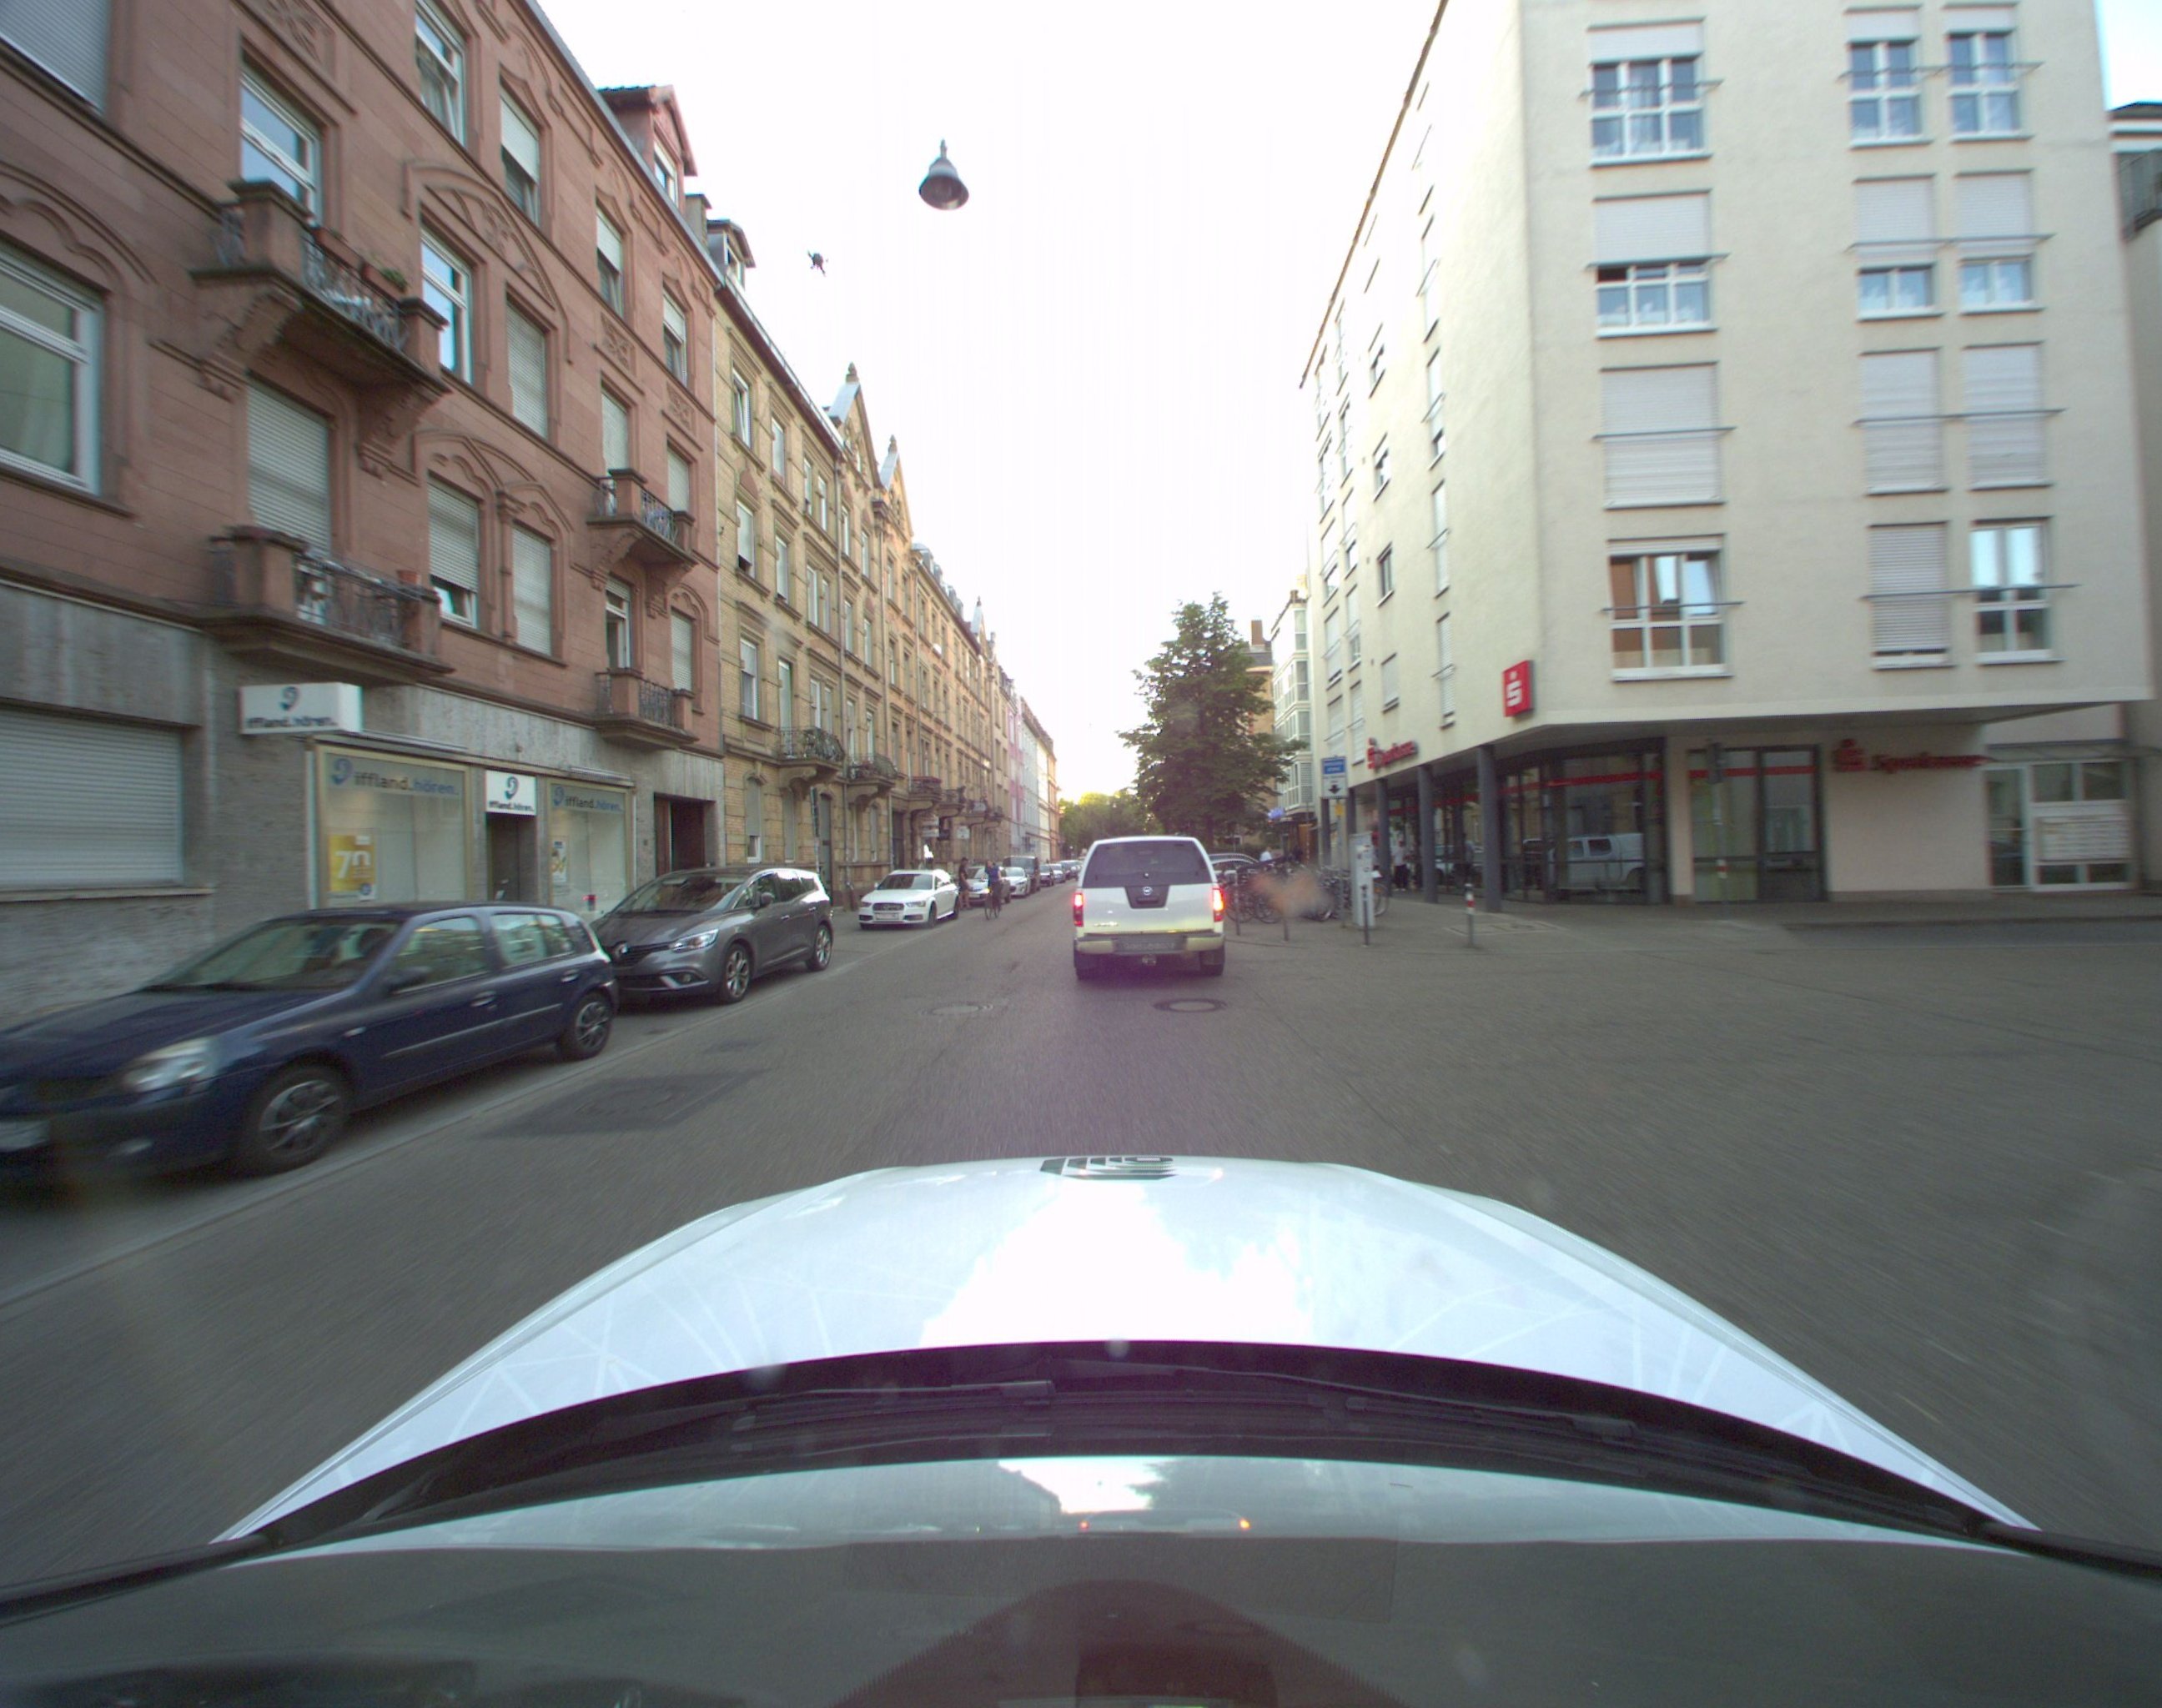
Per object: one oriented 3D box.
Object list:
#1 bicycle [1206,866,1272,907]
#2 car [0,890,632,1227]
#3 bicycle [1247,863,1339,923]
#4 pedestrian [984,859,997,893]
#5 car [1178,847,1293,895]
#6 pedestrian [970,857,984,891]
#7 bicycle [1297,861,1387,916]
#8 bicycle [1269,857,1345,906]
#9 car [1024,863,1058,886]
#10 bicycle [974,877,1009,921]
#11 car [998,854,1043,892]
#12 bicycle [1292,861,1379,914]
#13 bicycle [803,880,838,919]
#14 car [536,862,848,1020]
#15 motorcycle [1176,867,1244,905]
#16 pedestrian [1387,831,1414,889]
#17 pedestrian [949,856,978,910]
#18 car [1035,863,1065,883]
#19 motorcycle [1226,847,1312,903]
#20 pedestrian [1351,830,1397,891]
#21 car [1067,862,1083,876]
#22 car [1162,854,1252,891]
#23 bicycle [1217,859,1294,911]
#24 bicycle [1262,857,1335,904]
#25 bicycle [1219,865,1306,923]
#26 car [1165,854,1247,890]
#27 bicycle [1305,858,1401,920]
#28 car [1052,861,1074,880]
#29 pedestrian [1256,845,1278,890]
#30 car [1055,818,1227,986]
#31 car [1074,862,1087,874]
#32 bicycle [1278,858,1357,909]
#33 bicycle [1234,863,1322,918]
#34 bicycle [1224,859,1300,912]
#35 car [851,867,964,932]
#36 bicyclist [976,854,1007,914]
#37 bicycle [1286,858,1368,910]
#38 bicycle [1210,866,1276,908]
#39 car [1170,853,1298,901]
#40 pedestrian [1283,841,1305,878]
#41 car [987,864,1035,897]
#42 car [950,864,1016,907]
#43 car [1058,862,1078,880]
[{"bbox_3d":[4.595,0.941,23.778,1.764,1.022,0.566,-6,-2,5],"label":"bicycle"},{"bbox_3d":[-5.072,1.060,5.714,1.578,1.420,3.700,-1,0,4],"label":"car"},{"bbox_3d":[4.438,0.817,17.114,1.714,1.118,0.708,-4,-1,6],"label":"bicycle"},{"bbox_3d":[-4.800,1.174,43.195,0.603,1.772,0.777,1,0,-1],"label":"pedestrian"},{"bbox_3d":[6.319,0.688,33.639,4.381,1.647,1.747,-4,-1,2],"label":"car"},{"bbox_3d":[-5.493,1.051,42.953,0.578,1.772,0.997,1,0,-1],"label":"pedestrian"},{"bbox_3d":[5.636,0.750,17.664,1.713,1.054,0.655,-4,-1,6],"label":"bicycle"},{"bbox_3d":[5.849,0.706,21.143,1.717,1.118,0.653,-4,-1,-1],"label":"bicycle"},{"bbox_3d":[-2.548,1.340,53.032,1.729,1.418,4.781,0,-1,3],"label":"car"},{"bbox_3d":[-2.462,1.216,22.666,0.642,1.081,2.168,-4,-1,0],"label":"bicycle"},{"bbox_3d":[-3.153,1.000,43.690,1.986,1.924,4.951,0,-1,1],"label":"car"},{"bbox_3d":[5.710,0.755,18.334,1.713,1.054,0.655,-4,-1,6],"label":"bicycle"},{"bbox_3d":[-7.576,1.306,23.726,0.591,1.027,1.621,-1,0,-4],"label":"bicycle"},{"bbox_3d":[-4.823,0.955,10.972,1.845,1.633,4.449,-1,0,3],"label":"car"},{"bbox_3d":[4.262,1.040,26.844,2.060,1.078,0.661,-4,-1,-13],"label":"motorcycle"},{"bbox_3d":[9.642,0.174,24.573,0.656,1.723,0.666,-3,1,25],"label":"pedestrian"},{"bbox_3d":[-3.909,0.975,27.191,0.550,1.755,1.026,-2,-2,15],"label":"pedestrian"},{"bbox_3d":[-2.337,1.406,62.079,1.826,1.458,4.210,1,-1,3],"label":"car"},{"bbox_3d":[5.935,0.673,25.870,2.479,1.549,0.825,-5,-2,5],"label":"motorcycle"},{"bbox_3d":[8.576,0.194,23.834,0.780,1.723,0.902,-5,1,-41],"label":"pedestrian"},{"bbox_3d":[-0.680,1.716,94.382,1.691,1.621,4.024,0,-1,3],"label":"car"},{"bbox_3d":[5.966,0.879,38.830,3.973,1.456,1.828,-4,-1,0],"label":"car"},{"bbox_3d":[4.634,0.822,21.770,1.859,1.182,0.744,-6,-2,7],"label":"bicycle"},{"bbox_3d":[5.836,0.706,21.867,1.717,1.118,0.653,-4,-1,-1],"label":"bicycle"},{"bbox_3d":[3.986,0.874,17.995,1.716,1.118,0.707,-4,-1,1],"label":"bicycle"},{"bbox_3d":[6.305,0.903,41.399,3.784,1.452,1.734,-5,0,-2],"label":"car"},{"bbox_3d":[5.542,0.708,16.641,1.722,1.132,0.577,-4,-1,-9],"label":"bicycle"},{"bbox_3d":[-1.570,1.455,71.828,1.629,1.565,3.783,-1,-1,2],"label":"car"},{"bbox_3d":[7.386,0.541,32.327,0.625,1.753,0.586,-1,-2,-9],"label":"pedestrian"},{"bbox_3d":[0.982,0.577,11.698,1.900,1.853,5.280,-1,-1,7],"label":"car"},{"bbox_3d":[-0.048,1.859,106.059,1.692,1.552,4.022,0,-1,1],"label":"car"},{"bbox_3d":[5.800,0.713,20.061,1.713,1.118,0.655,-4,-1,6],"label":"bicycle"},{"bbox_3d":[4.517,0.834,18.764,1.803,1.118,0.707,-4,-1,1],"label":"bicycle"},{"bbox_3d":[4.653,0.798,20.925,1.776,1.182,0.736,-6,-2,13],"label":"bicycle"},{"bbox_3d":[-4.404,1.104,21.372,1.751,1.412,4.512,-1,0,3],"label":"car"},{"bbox_3d":[-2.491,0.825,22.688,0.642,1.621,0.918,-4,-1,0],"label":"bicyclist"},{"bbox_3d":[5.874,0.710,19.487,1.713,1.118,0.655,-4,-1,6],"label":"bicycle"},{"bbox_3d":[4.584,0.931,23.156,1.711,1.031,0.668,-6,-2,5],"label":"bicycle"},{"bbox_3d":[5.757,0.865,30.892,4.413,1.455,1.777,-4,-1,-3],"label":"car"},{"bbox_3d":[10.180,0.270,38.902,0.724,1.716,0.964,-4,-1,3],"label":"pedestrian"},{"bbox_3d":[-3.261,1.215,38.616,1.777,1.423,4.486,0,-1,1],"label":"car"},{"bbox_3d":[-3.646,1.141,30.908,1.709,1.457,4.005,0,0,4],"label":"car"},{"bbox_3d":[-1.211,1.617,78.030,1.839,1.659,4.252,-2,-1,0],"label":"car"}]
